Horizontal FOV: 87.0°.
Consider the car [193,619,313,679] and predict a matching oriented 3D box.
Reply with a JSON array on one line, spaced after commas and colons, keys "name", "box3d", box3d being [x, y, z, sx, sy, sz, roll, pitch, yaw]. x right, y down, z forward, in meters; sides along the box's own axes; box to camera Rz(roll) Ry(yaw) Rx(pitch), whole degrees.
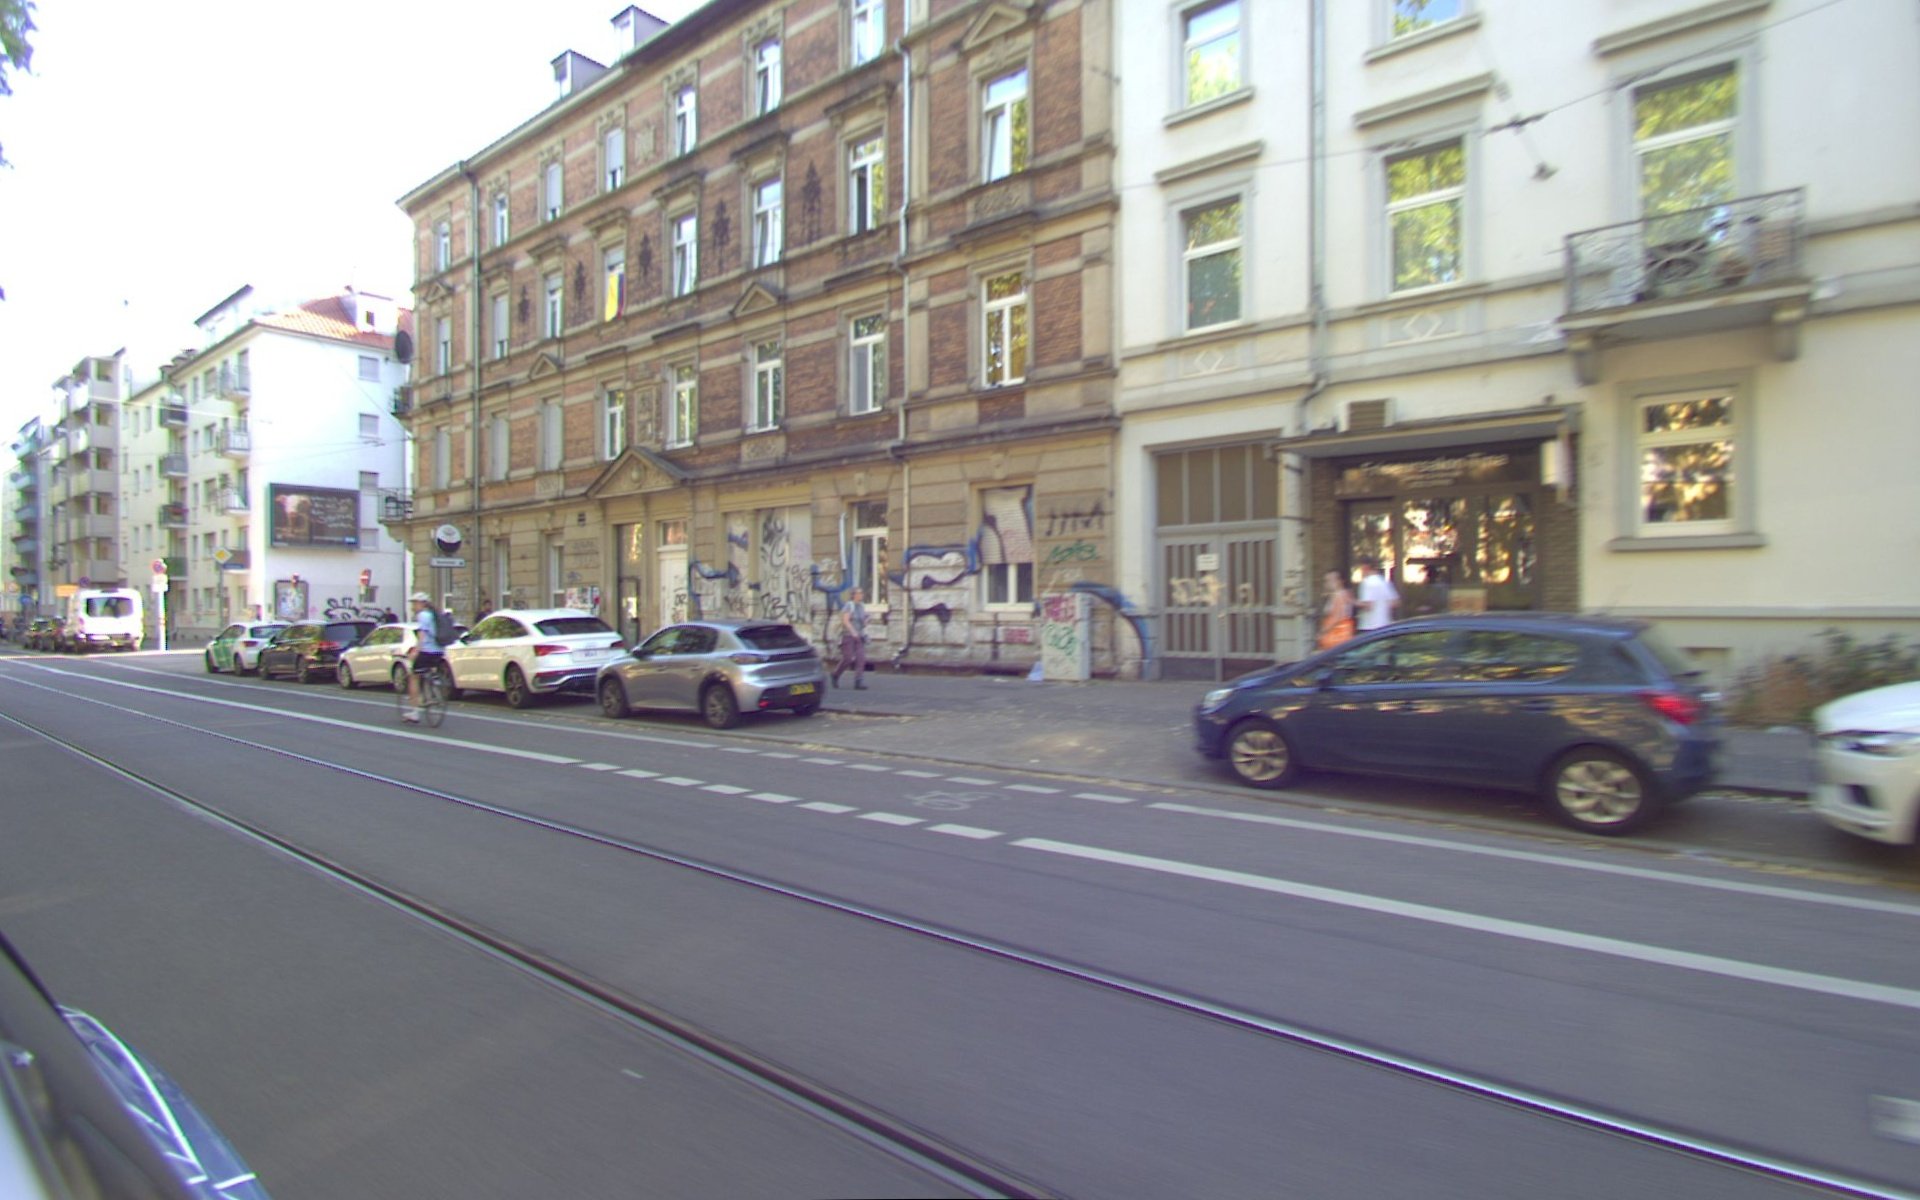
[{"name": "car", "box3d": [-19.938, 1.327, 28.504, 4.041, 1.503, 1.724, -1, 1, 39]}]

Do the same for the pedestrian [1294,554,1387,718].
[{"name": "pedestrian", "box3d": [4.470, 0.409, 11.892, 0.829, 1.835, 0.752, -1, -1, 37]}]

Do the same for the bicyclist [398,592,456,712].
[{"name": "bicyclist", "box3d": [-7.518, 0.716, 14.260, 0.799, 1.648, 0.468, -1, -1, 41]}]

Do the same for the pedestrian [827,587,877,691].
[{"name": "pedestrian", "box3d": [-1.811, 0.627, 16.896, 0.653, 1.678, 0.771, -1, 0, -18]}]

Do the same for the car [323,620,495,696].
[{"name": "car", "box3d": [-11.837, 1.169, 21.653, 3.992, 1.431, 1.684, -1, 1, 36]}]

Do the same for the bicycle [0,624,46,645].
[{"name": "bicycle", "box3d": [-52.735, 1.935, 56.929, 1.908, 1.127, 0.440, -2, 1, -44]}]

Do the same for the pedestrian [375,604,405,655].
[{"name": "pedestrian", "box3d": [-20.084, 1.045, 35.676, 0.893, 1.762, 0.649, -3, -1, 44]}]

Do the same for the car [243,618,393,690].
[{"name": "car", "box3d": [-16.025, 1.255, 25.165, 4.781, 1.574, 1.724, -1, 1, 39]}]

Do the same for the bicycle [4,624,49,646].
[{"name": "bicycle", "box3d": [-51.090, 1.914, 55.408, 1.768, 1.127, 0.425, -2, 1, -44]}]

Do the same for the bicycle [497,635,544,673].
[{"name": "bicycle", "box3d": [-12.465, 1.517, 28.668, 1.846, 1.042, 0.369, -1, -1, 38]}]

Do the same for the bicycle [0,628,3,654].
[{"name": "bicycle", "box3d": [-44.248, 1.859, 46.269, 2.230, 1.159, 0.416, 0, -1, 40]}]

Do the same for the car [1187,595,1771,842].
[{"name": "car", "box3d": [3.955, 0.766, 8.155, 3.924, 1.527, 1.537, -1, -1, 43]}]

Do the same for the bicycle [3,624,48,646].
[{"name": "bicycle", "box3d": [-51.468, 1.919, 55.776, 1.797, 1.127, 0.425, -2, 1, -44]}]

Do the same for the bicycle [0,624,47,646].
[{"name": "bicycle", "box3d": [-52.338, 1.930, 56.563, 1.938, 1.127, 0.440, -2, 1, -44]}]

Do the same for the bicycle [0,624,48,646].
[{"name": "bicycle", "box3d": [-51.988, 1.926, 56.224, 1.945, 1.127, 0.425, -2, 1, -44]}]

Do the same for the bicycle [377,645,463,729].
[{"name": "bicycle", "box3d": [-7.737, 1.211, 14.469, 1.845, 1.094, 0.476, -1, -1, 41]}]

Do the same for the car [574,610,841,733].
[{"name": "car", "box3d": [-3.779, 0.945, 14.845, 4.059, 1.532, 1.646, -1, 1, 38]}]

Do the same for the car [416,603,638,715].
[{"name": "car", "box3d": [-7.934, 0.965, 18.313, 4.715, 1.736, 1.768, -1, 1, 40]}]

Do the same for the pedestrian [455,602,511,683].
[{"name": "pedestrian", "box3d": [-11.019, 0.959, 23.370, 1.053, 1.814, 0.678, -1, 0, 31]}]

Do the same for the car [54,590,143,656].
[{"name": "car", "box3d": [-35.481, 0.931, 41.631, 5.665, 2.555, 2.043, -1, -1, 42]}]

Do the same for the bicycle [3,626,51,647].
[{"name": "bicycle", "box3d": [-50.172, 1.972, 54.434, 1.871, 1.045, 0.402, -2, 1, -44]}]

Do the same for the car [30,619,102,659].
[{"name": "car", "box3d": [-39.576, 1.681, 44.781, 4.342, 1.644, 1.701, -1, -1, 39]}]

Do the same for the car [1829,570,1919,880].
[{"name": "car", "box3d": [7.420, 0.669, 4.961, 4.760, 1.716, 1.837, -1, -1, 41]}]

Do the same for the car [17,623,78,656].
[{"name": "car", "box3d": [-43.823, 1.850, 48.576, 4.571, 1.467, 1.700, -1, -1, 42]}]

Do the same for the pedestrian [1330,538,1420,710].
[{"name": "pedestrian", "box3d": [5.122, 0.290, 12.488, 0.829, 2.029, 0.752, -1, -1, 38]}]

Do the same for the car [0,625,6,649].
[{"name": "car", "box3d": [-62.412, 2.370, 64.680, 4.725, 1.502, 1.672, -1, -1, 41]}]
